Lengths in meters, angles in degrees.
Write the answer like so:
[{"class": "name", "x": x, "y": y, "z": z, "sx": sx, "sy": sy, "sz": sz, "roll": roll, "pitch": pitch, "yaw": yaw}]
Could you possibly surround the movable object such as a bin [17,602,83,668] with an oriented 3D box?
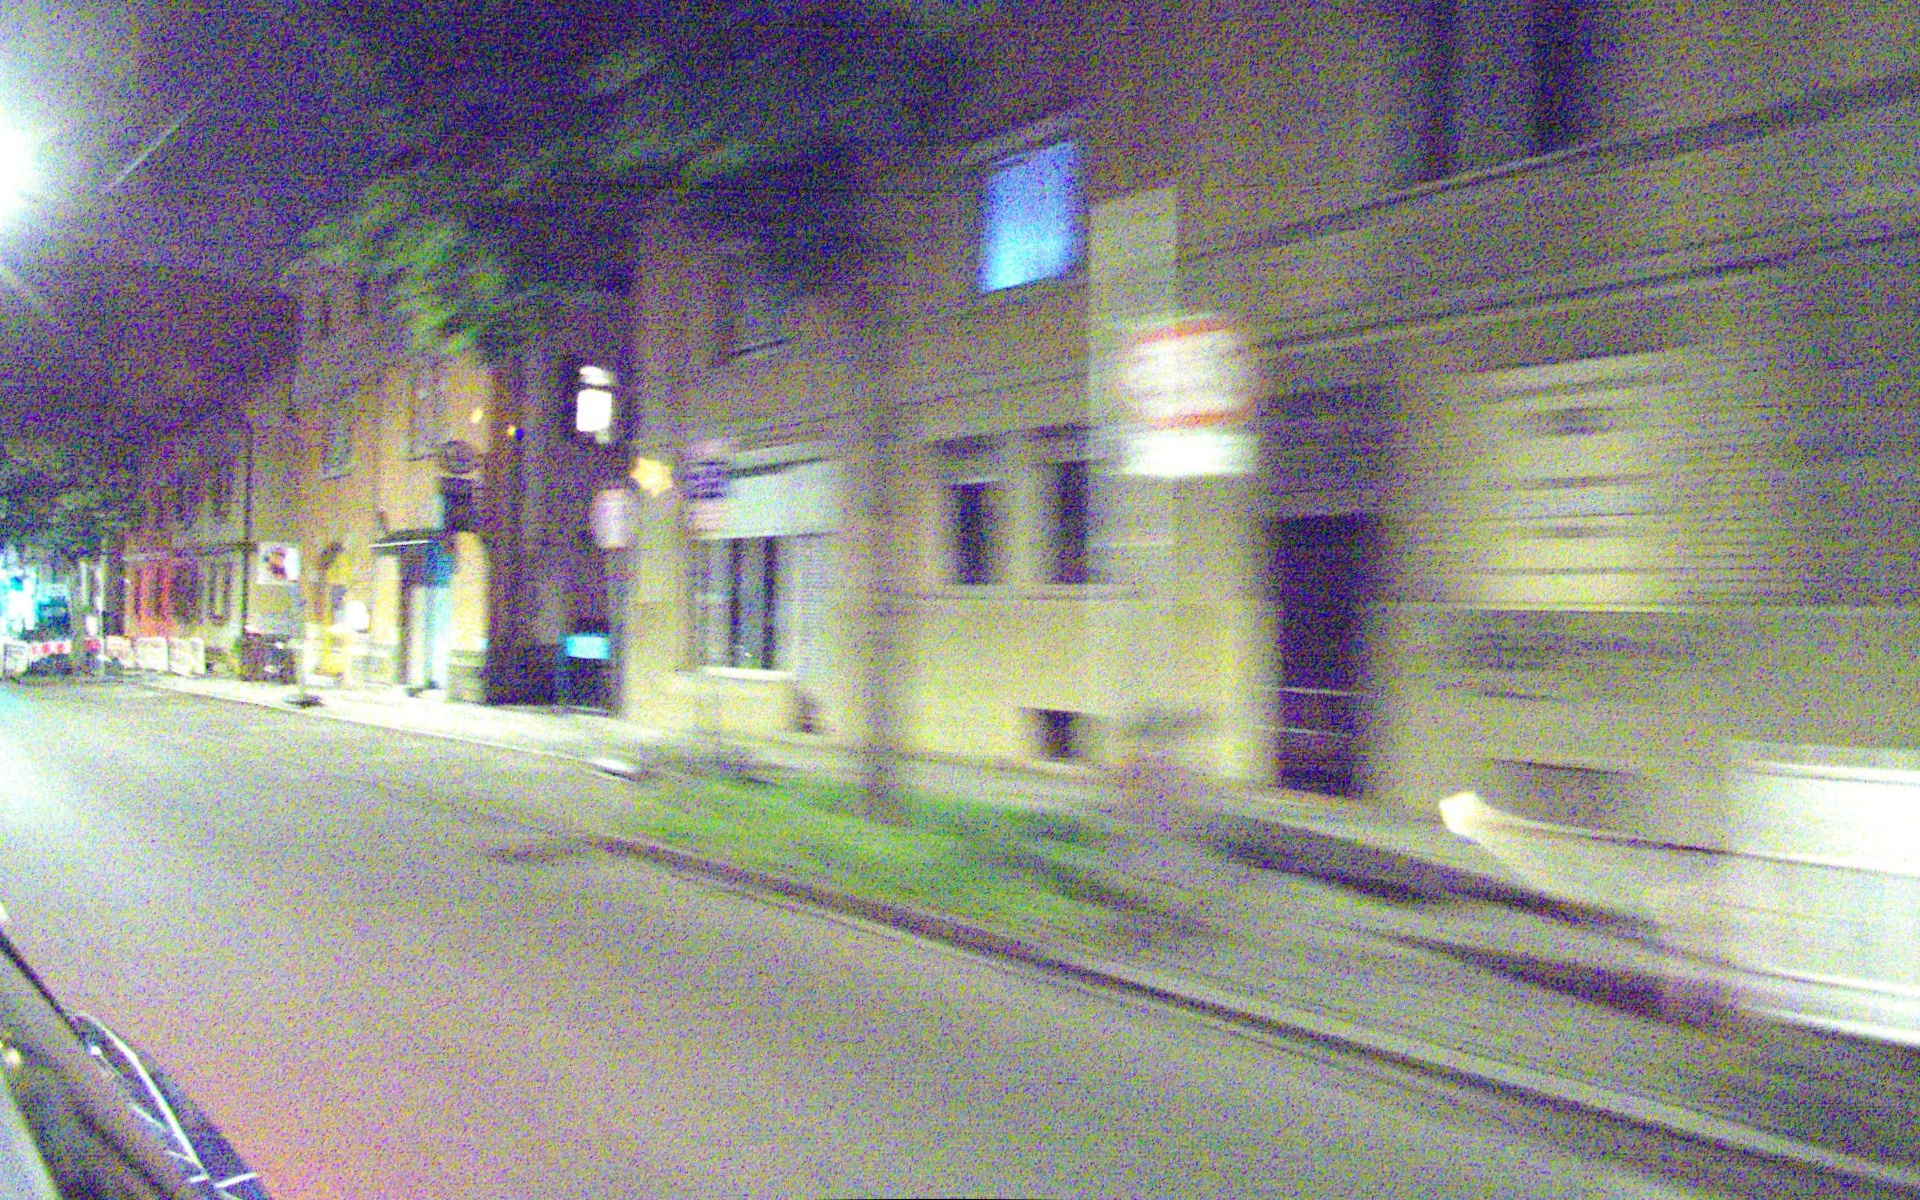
[{"class": "movable object such as a bin", "x": -38.322, "y": 1.470, "z": 42.608, "sx": 3.908, "sy": 2.647, "sz": 1.554, "roll": -1, "pitch": -4, "yaw": 42}]
